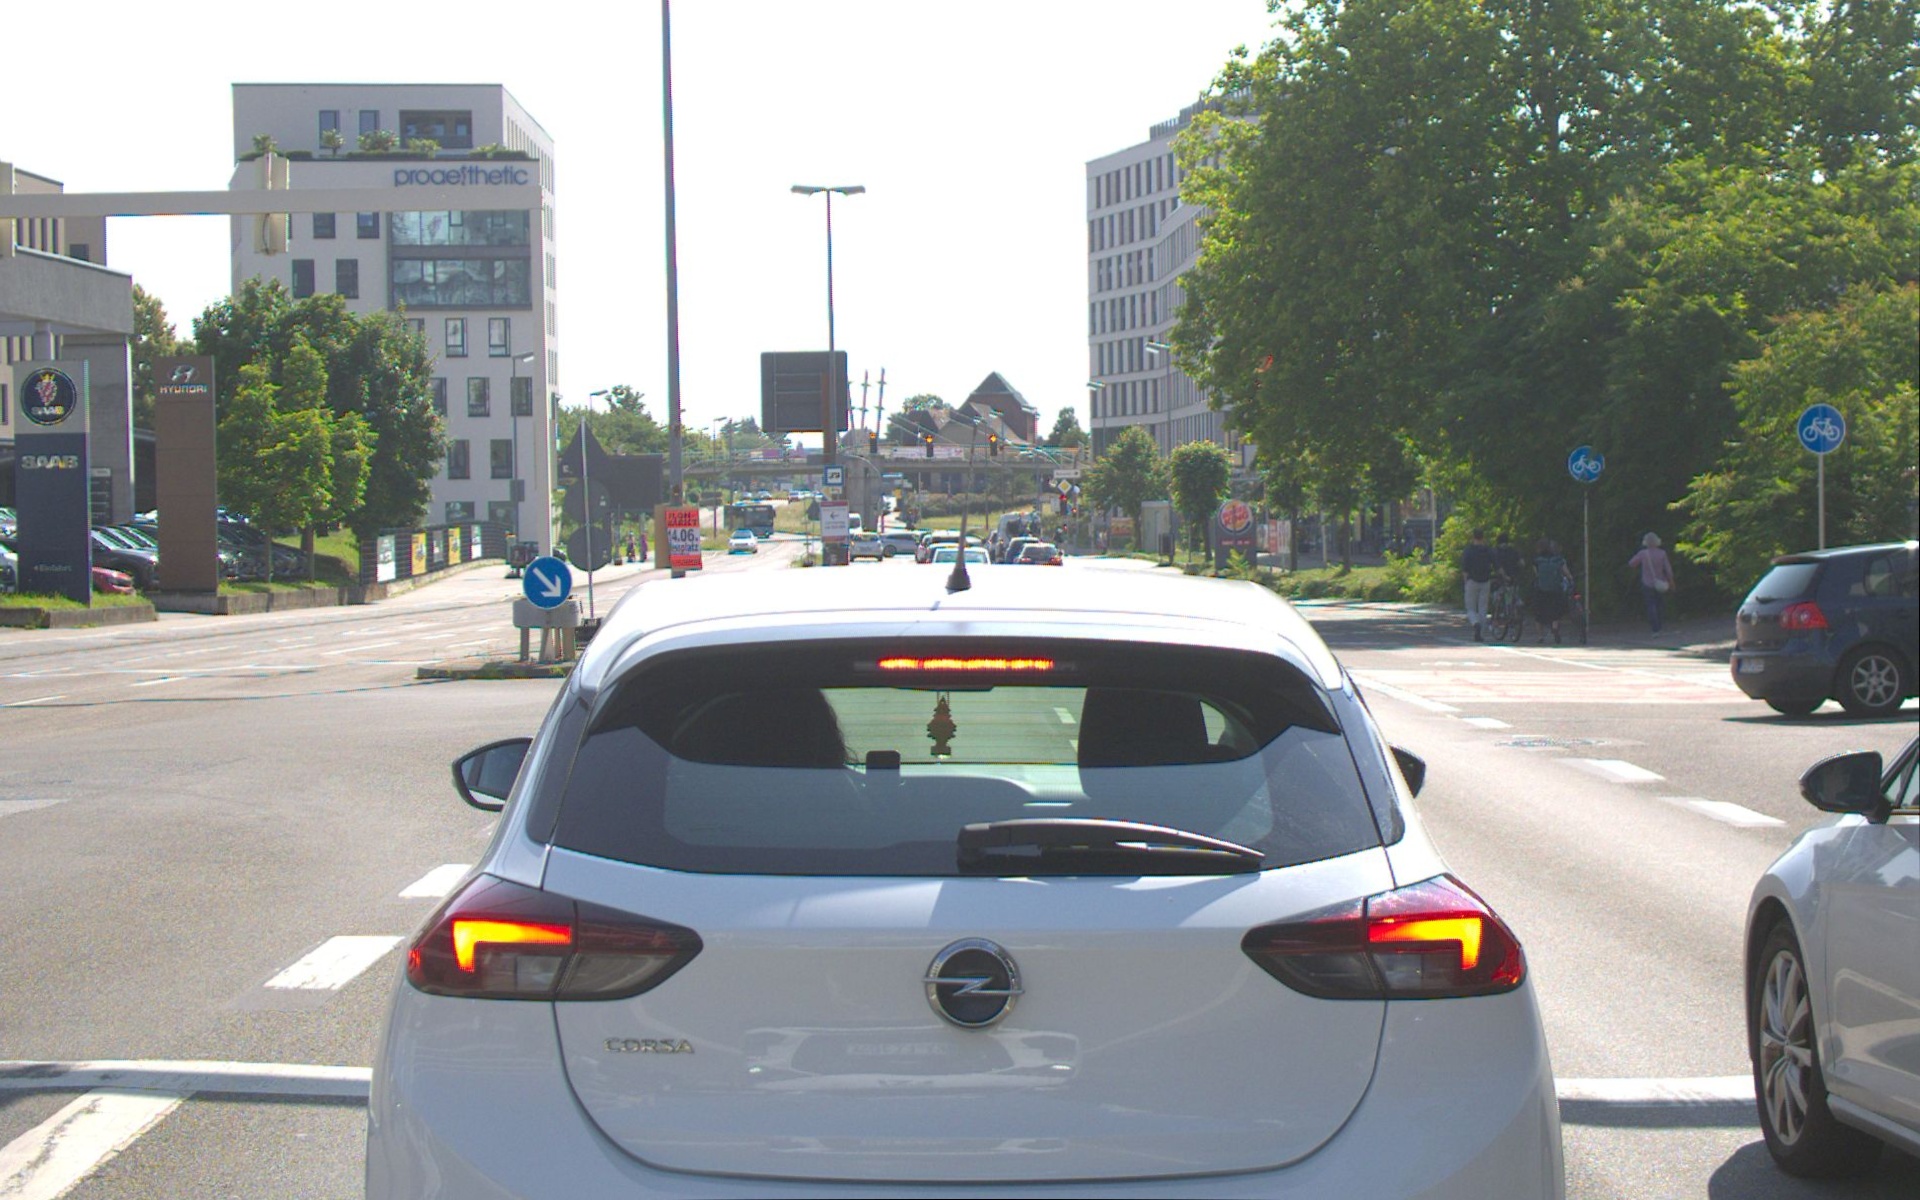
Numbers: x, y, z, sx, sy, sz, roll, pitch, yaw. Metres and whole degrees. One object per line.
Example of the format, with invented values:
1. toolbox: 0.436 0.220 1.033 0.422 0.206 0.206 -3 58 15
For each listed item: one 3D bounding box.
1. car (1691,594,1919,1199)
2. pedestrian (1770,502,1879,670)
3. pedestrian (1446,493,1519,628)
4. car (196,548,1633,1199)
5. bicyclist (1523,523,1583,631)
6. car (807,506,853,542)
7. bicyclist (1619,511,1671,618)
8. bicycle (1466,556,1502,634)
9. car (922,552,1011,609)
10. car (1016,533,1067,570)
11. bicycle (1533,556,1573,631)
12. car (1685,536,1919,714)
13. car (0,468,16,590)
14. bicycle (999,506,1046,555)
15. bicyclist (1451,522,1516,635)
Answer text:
1. car: 2.869 0.711 6.817 1.807 1.424 4.000 -1 1 -3
2. pedestrian: 10.472 -0.177 41.678 1.027 2.007 1.039 -1 1 -1
3. pedestrian: 8.757 -0.673 57.644 1.027 2.231 1.039 -1 1 -1
4. car: -0.079 0.666 6.283 1.779 1.489 4.000 -1 1 -1
5. bicyclist: 9.092 -0.353 52.742 0.688 1.637 0.777 -1 1 -9
6. car: -5.347 -3.123 141.679 1.806 1.381 4.000 1 0 -1
7. bicyclist: 10.634 -0.551 53.365 0.652 1.631 0.659 1 0 0
8. bicycle: 8.258 -0.090 54.199 0.372 1.212 1.154 1 1 -1
9. car: 0.176 -0.468 82.556 1.993 1.327 4.000 1 0 2
10. car: 3.170 -1.900 134.184 1.806 1.381 4.000 1 0 -1
11. bicycle: 9.103 -0.105 52.768 0.373 1.143 1.034 1 0 -3
12. car: 8.470 0.169 29.392 3.986 1.437 2.001 -1 1 -8
13. car: -22.554 -1.475 73.026 4.357 2.592 2.000 -1 1 5
14. bicycle: 2.820 -3.131 155.526 1.993 2.150 4.000 -1 1 -1
15. bicyclist: 8.248 -0.343 54.199 0.879 1.766 0.864 -1 1 0
